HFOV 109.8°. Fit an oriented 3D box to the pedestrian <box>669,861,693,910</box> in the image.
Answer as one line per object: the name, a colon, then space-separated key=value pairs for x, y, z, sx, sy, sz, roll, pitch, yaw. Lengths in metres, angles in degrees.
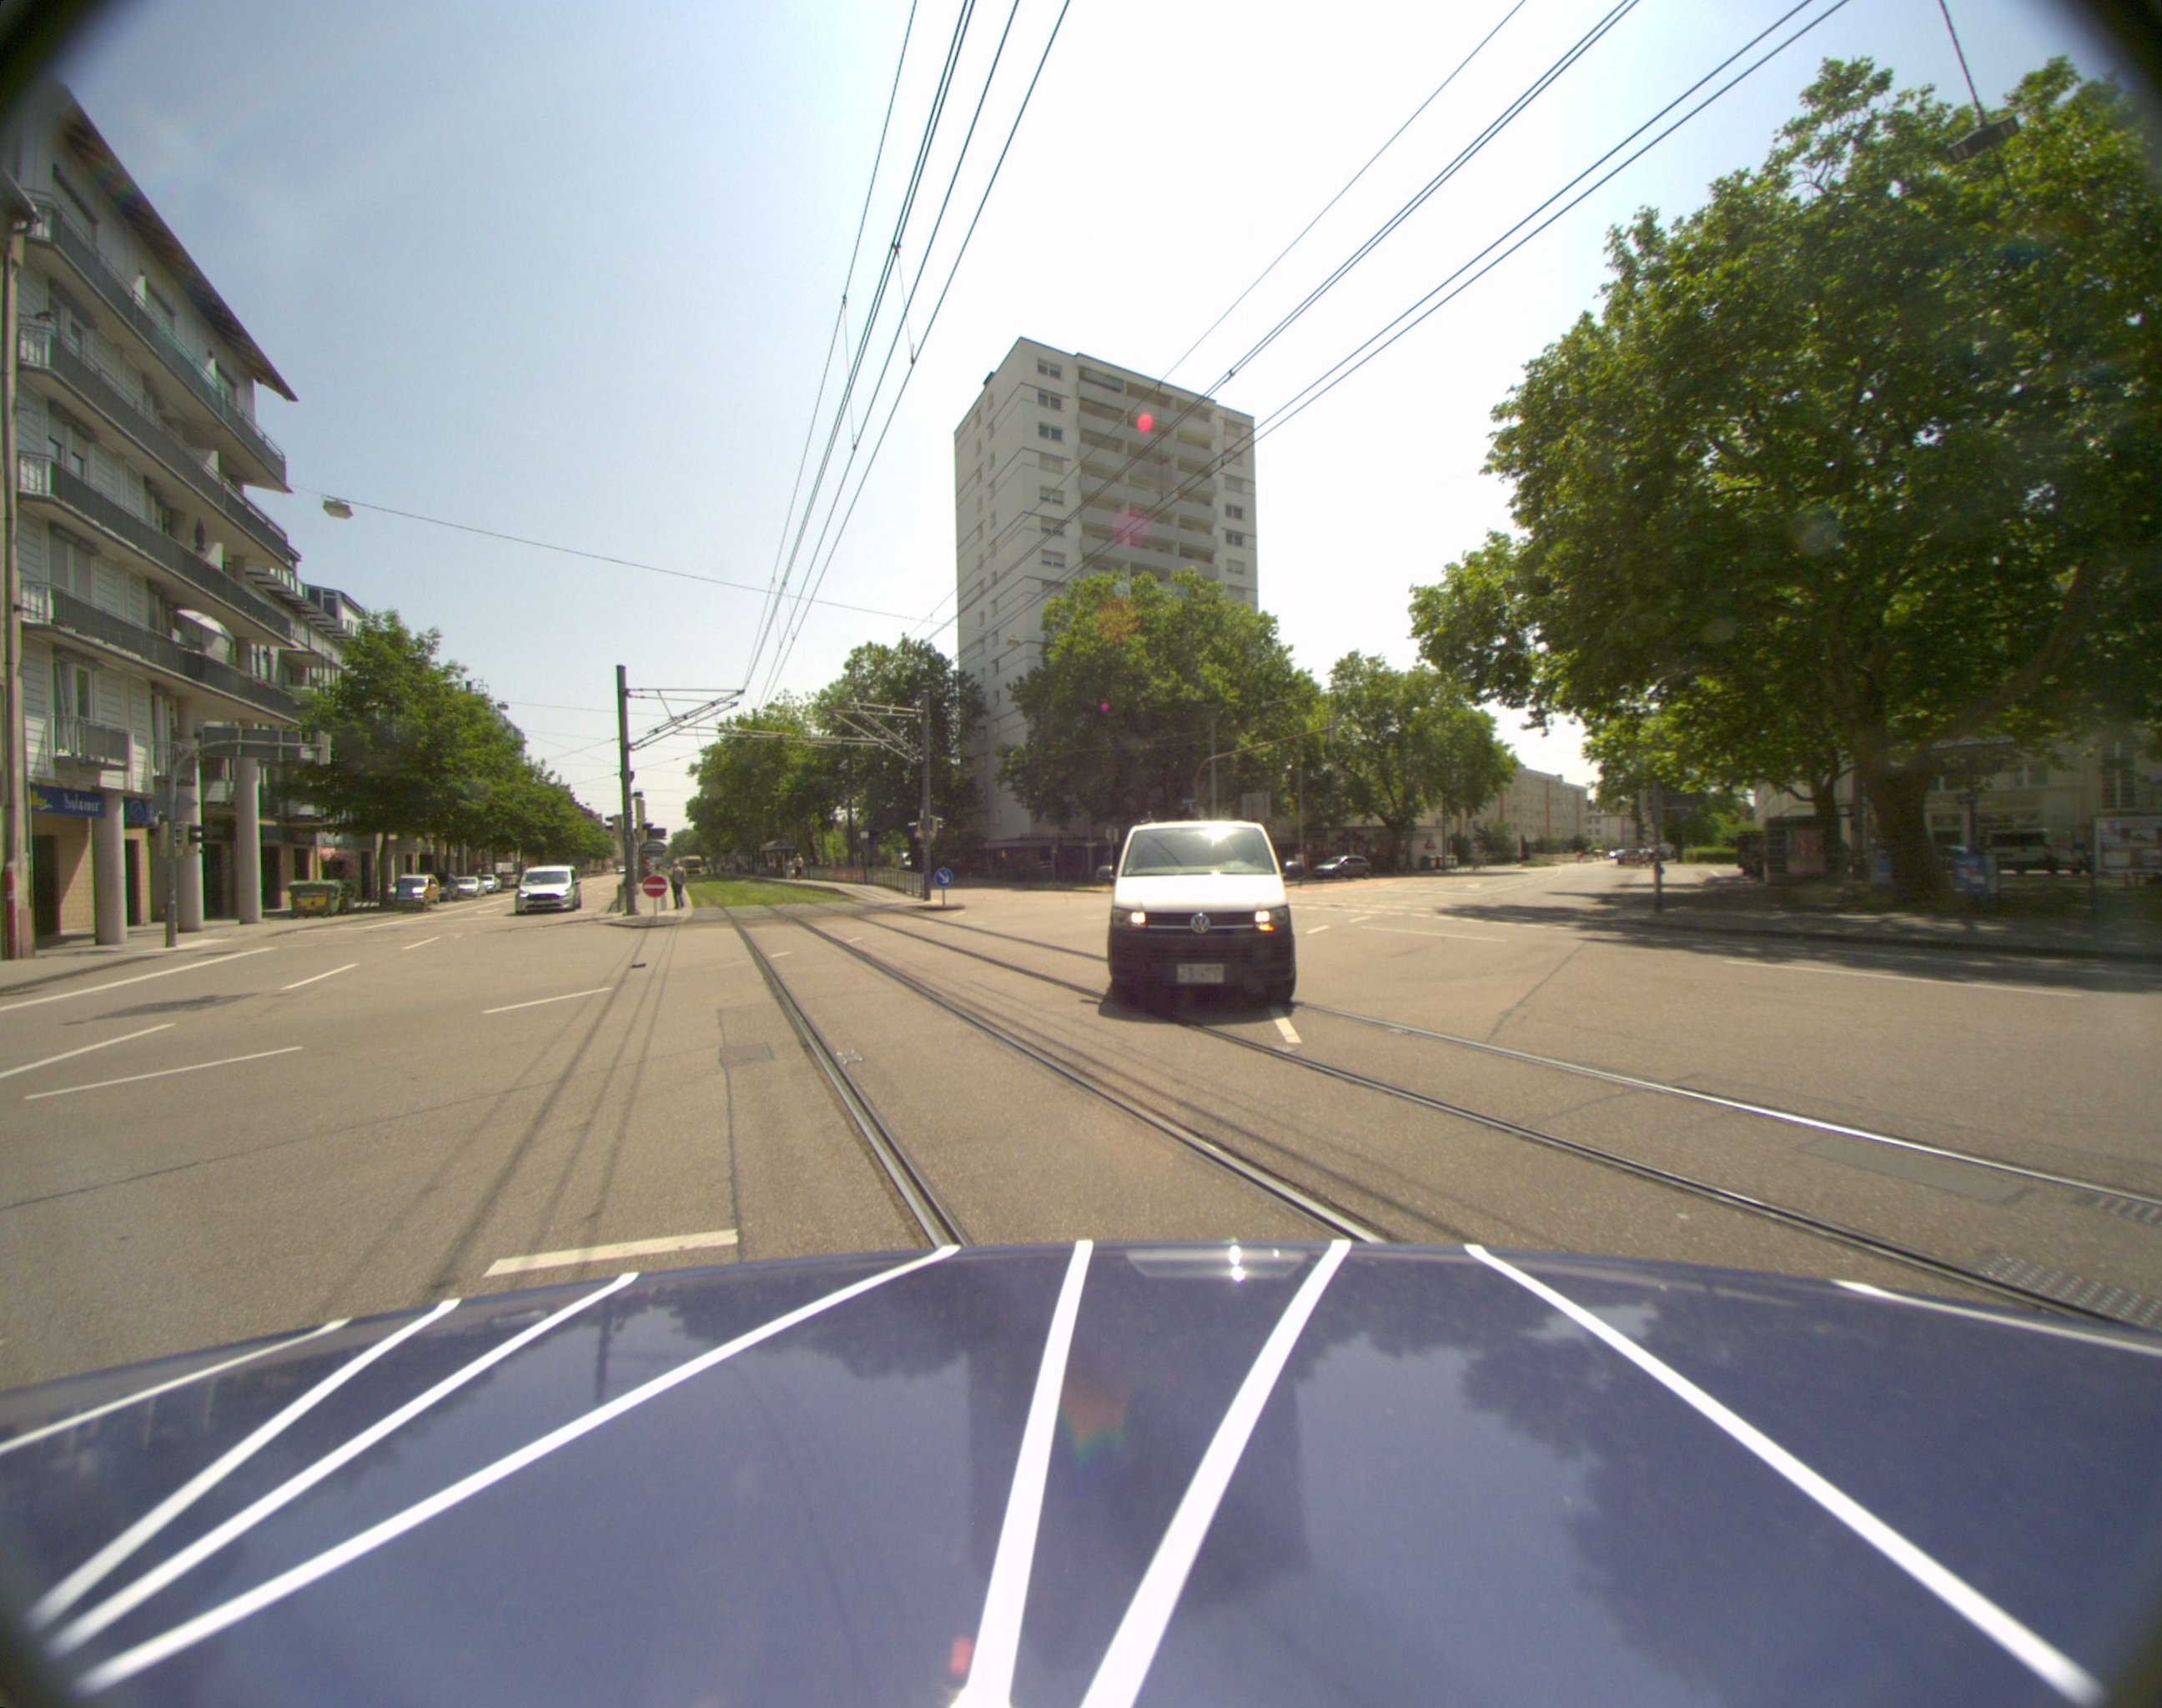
pedestrian: x=-14.321 y=1.126 z=27.226 sx=0.681 sy=1.696 sz=0.552 roll=-3 pitch=2 yaw=-26

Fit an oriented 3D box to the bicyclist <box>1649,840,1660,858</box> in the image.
bicyclist: x=55.192 y=-0.472 z=73.126 sx=0.789 sy=1.726 sz=0.703 roll=-4 pitch=2 yaw=-44

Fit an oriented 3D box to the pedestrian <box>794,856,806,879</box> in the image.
pedestrian: x=-19.352 y=0.921 z=52.358 sx=0.554 sy=1.597 sz=0.678 roll=-3 pitch=2 yaw=-30

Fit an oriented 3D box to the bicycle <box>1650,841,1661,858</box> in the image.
bicycle: x=55.425 y=-0.414 z=73.276 sx=1.846 sy=1.546 sz=0.595 roll=-4 pitch=2 yaw=-44

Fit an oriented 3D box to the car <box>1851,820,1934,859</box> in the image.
car: x=45.646 y=-0.831 z=42.724 sx=4.004 sy=2.002 sz=1.996 roll=-3 pitch=1 yaw=-25

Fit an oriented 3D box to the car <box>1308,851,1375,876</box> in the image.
car: x=17.331 y=0.586 z=50.615 sx=4.063 sy=1.453 sz=1.942 roll=-3 pitch=1 yaw=-28

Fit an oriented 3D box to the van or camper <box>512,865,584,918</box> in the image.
van or camper: x=-20.411 y=1.355 z=29.253 sx=1.770 sy=1.748 sz=4.583 roll=-3 pitch=1 yaw=-30

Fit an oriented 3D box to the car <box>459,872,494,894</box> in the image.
car: x=-44.994 y=2.134 z=56.631 sx=1.689 sy=1.434 sz=3.467 roll=-2 pitch=1 yaw=-33

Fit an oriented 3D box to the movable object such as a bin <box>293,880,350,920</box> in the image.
movable object such as a bin: x=-29.282 y=1.763 z=29.316 sx=1.216 sy=1.428 sz=1.006 roll=-3 pitch=2 yaw=-26

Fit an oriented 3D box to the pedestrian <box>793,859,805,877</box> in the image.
pedestrian: x=-20.763 y=1.034 z=56.006 sx=0.680 sy=1.342 sz=0.630 roll=-3 pitch=2 yaw=-30

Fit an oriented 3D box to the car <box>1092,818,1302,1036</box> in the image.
car: x=1.444 y=0.658 z=9.360 sx=1.851 sy=1.942 sz=4.946 roll=-1 pitch=0 yaw=9

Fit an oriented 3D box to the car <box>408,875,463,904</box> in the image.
car: x=-38.869 y=2.086 z=45.818 sx=1.895 sy=1.523 sz=3.990 roll=-3 pitch=1 yaw=-32

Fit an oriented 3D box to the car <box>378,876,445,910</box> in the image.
car: x=-36.087 y=2.063 z=41.073 sx=2.003 sy=1.523 sz=3.990 roll=-3 pitch=1 yaw=-32

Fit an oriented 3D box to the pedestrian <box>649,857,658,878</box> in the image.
pedestrian: x=-33.888 y=1.067 z=60.265 sx=0.551 sy=1.597 sz=0.552 roll=-3 pitch=2 yaw=-30

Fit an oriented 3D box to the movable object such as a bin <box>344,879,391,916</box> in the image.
movable object such as a bin: x=-29.670 y=1.804 z=31.623 sx=1.217 sy=1.428 sz=1.006 roll=-3 pitch=2 yaw=-35

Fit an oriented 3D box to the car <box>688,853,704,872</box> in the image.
car: x=-71.121 y=1.528 z=140.312 sx=2.279 sy=3.320 sz=12.007 roll=-2 pitch=1 yaw=-28

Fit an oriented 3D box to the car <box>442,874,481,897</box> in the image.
car: x=-42.471 y=2.143 z=52.145 sx=1.690 sy=1.433 sz=3.467 roll=-2 pitch=0 yaw=-33

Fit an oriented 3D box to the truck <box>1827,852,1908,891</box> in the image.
truck: x=48.149 y=1.050 z=46.502 sx=4.377 sy=2.110 sz=1.961 roll=-3 pitch=1 yaw=-22
